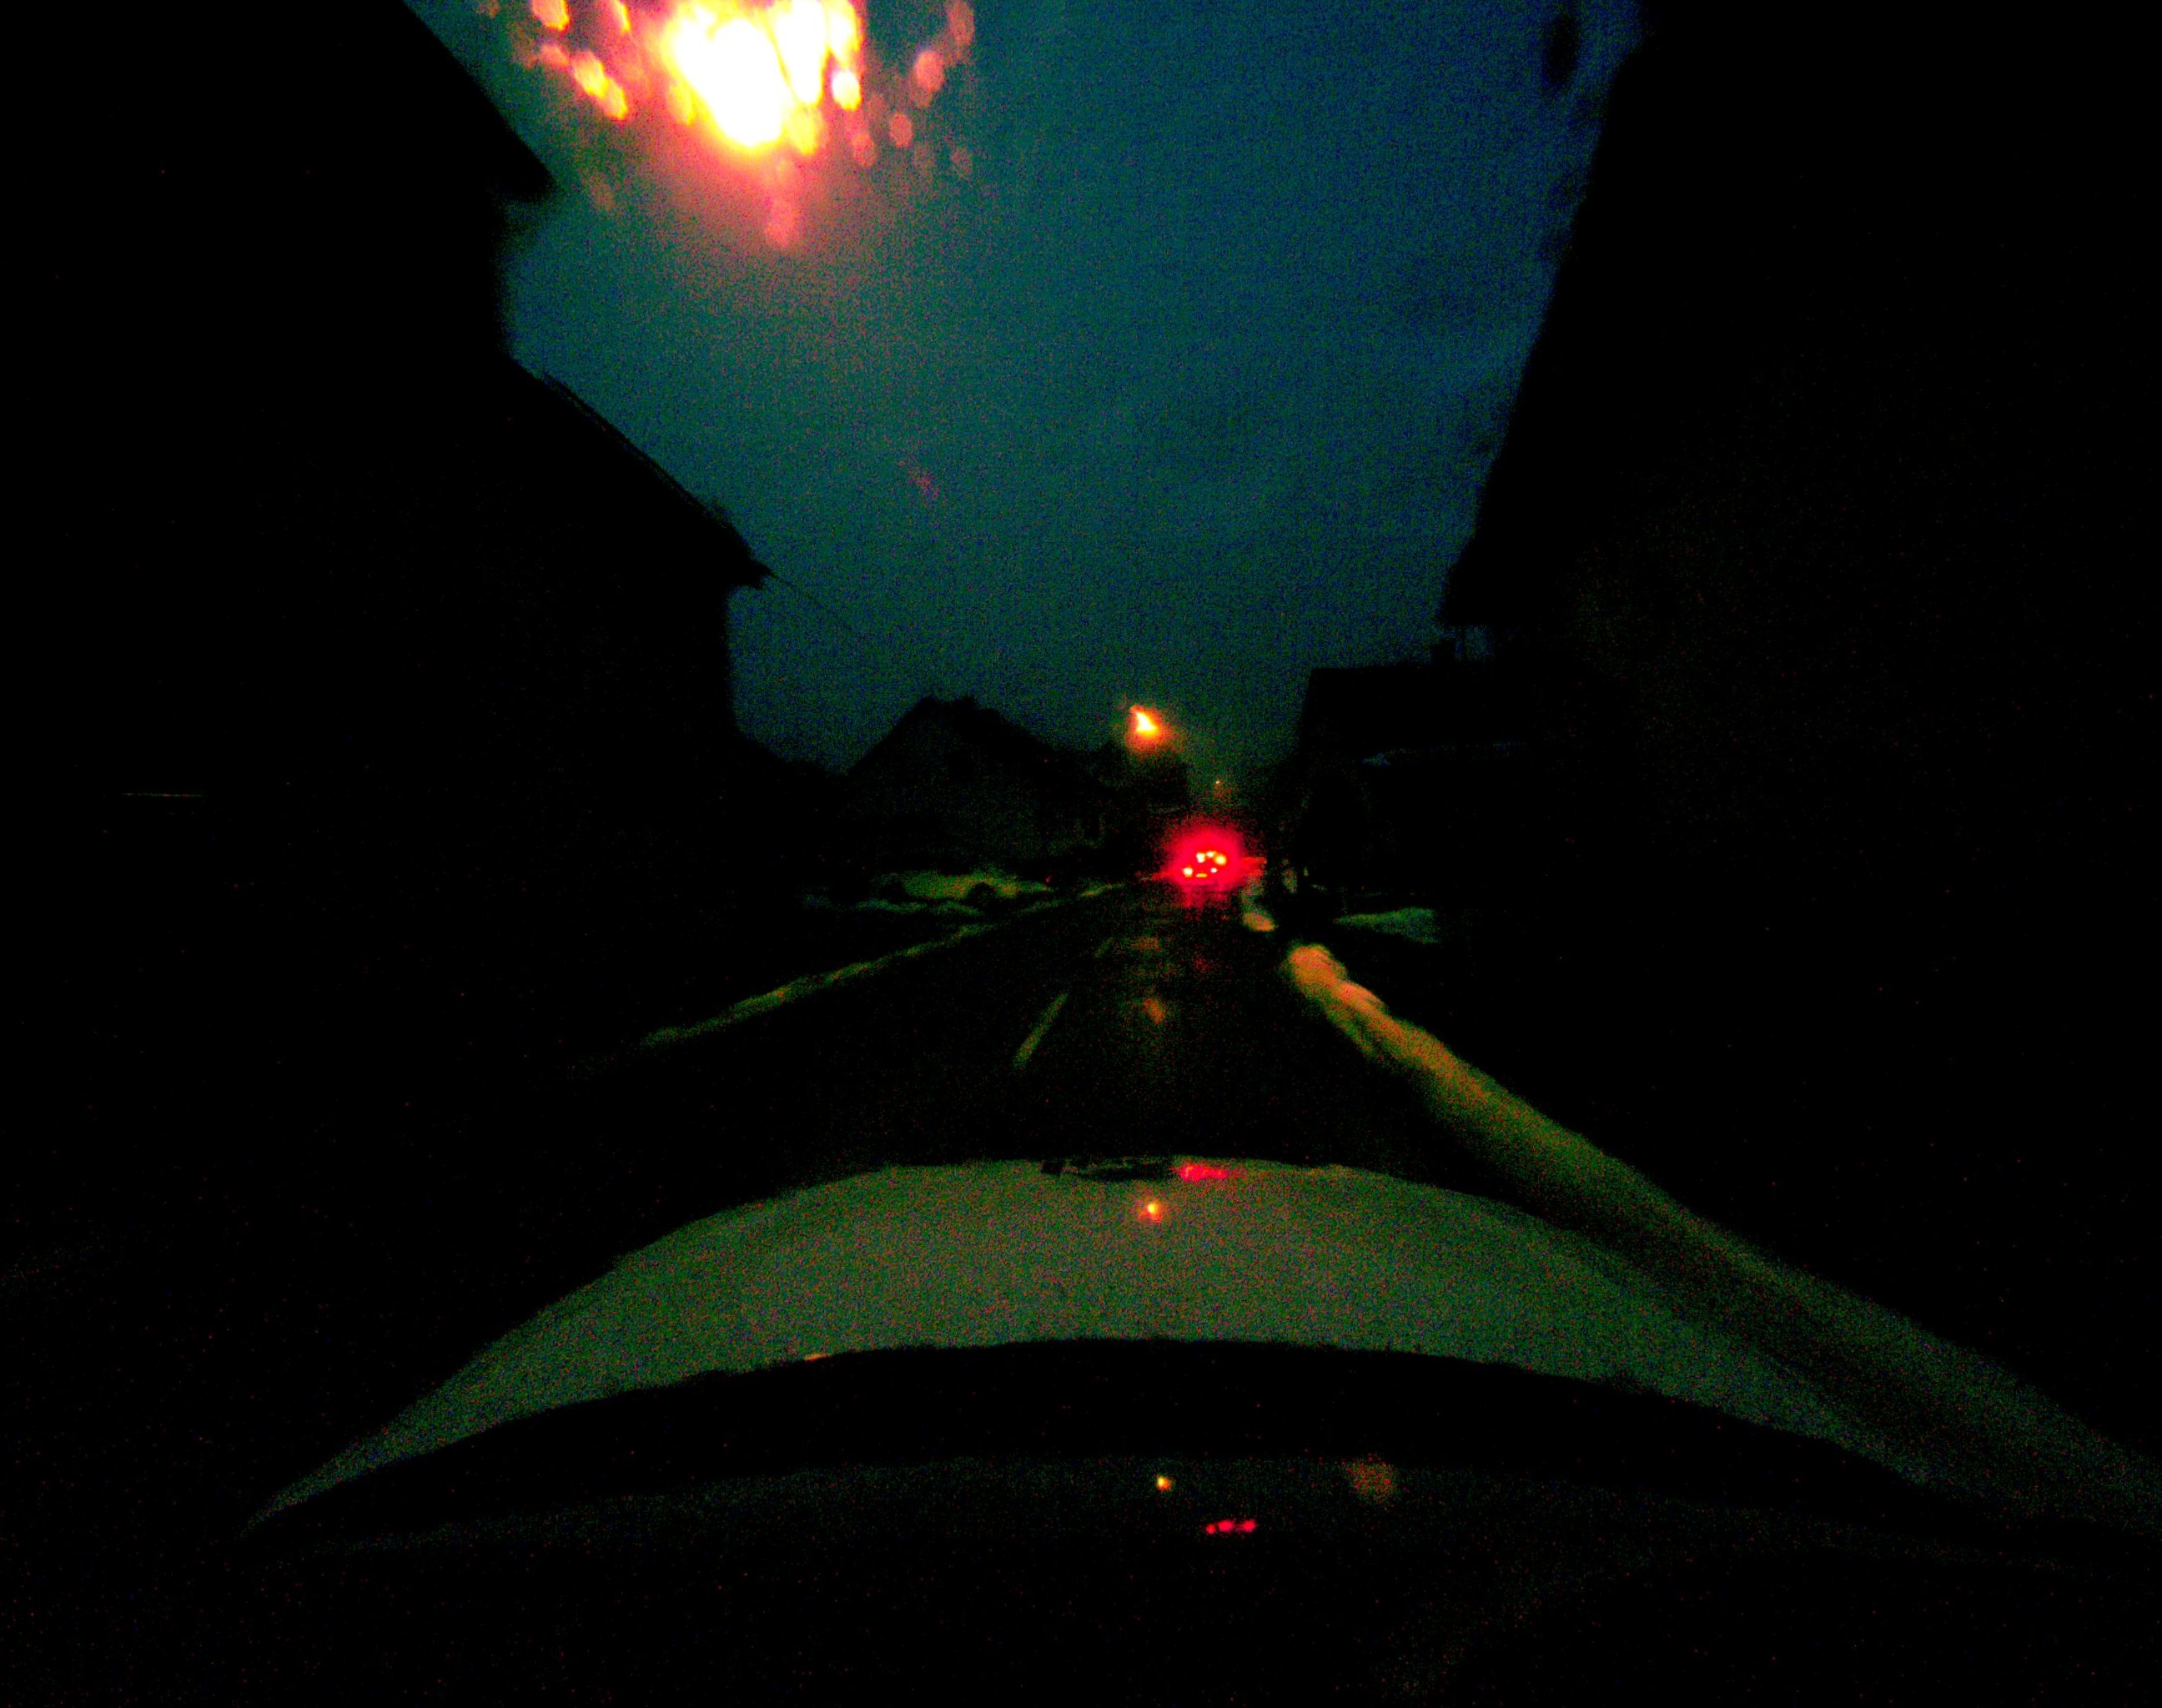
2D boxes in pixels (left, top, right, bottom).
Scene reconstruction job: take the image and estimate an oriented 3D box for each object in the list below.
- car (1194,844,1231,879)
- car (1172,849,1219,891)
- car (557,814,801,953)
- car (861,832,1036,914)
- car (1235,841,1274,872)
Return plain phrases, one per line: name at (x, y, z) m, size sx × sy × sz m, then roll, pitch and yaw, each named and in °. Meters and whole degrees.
car at (8.603, 0.474, 53.122) m, size 1.980 × 1.837 × 4.016 m, roll -4°, pitch 3°, yaw 13°
car at (5.591, 0.715, 39.264) m, size 1.981 × 1.507 × 4.013 m, roll -5°, pitch 3°, yaw 10°
car at (-8.063, 0.505, 16.814) m, size 3.996 × 2.276 × 1.989 m, roll -6°, pitch 3°, yaw -16°
car at (-4.032, 0.578, 25.034) m, size 4.697 × 2.013 × 2.009 m, roll -4°, pitch 3°, yaw 15°
car at (12.222, 0.146, 57.029) m, size 2.234 × 1.639 × 4.871 m, roll -4°, pitch 3°, yaw 16°
